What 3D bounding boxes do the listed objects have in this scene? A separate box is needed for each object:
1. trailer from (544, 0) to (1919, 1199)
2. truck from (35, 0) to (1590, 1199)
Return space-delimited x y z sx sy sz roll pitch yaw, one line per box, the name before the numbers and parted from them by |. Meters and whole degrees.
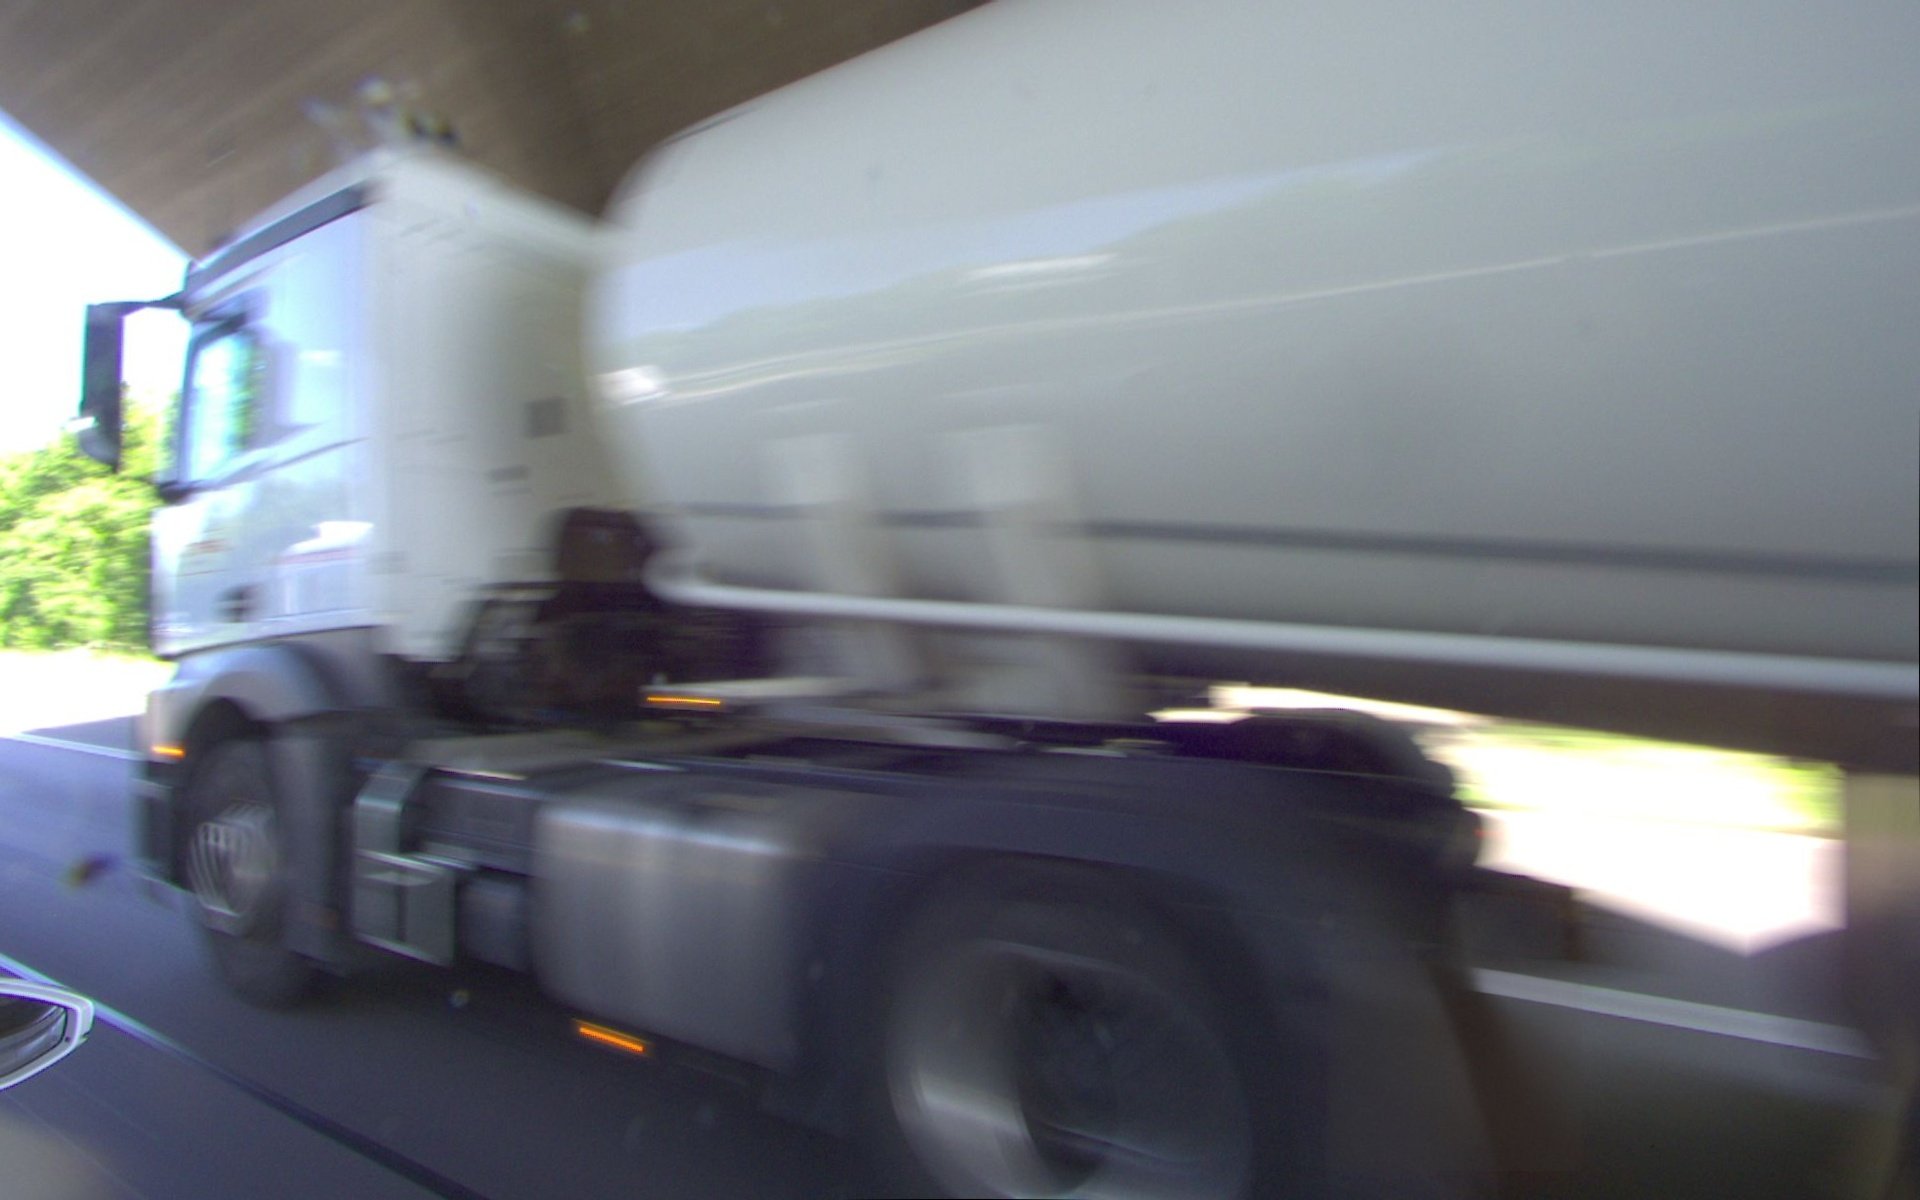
trailer | 4.161 -0.270 0.806 10.996 3.433 2.642 -1 -1 34
truck | -1.113 -0.174 4.263 6.395 3.418 2.633 -1 -1 33
